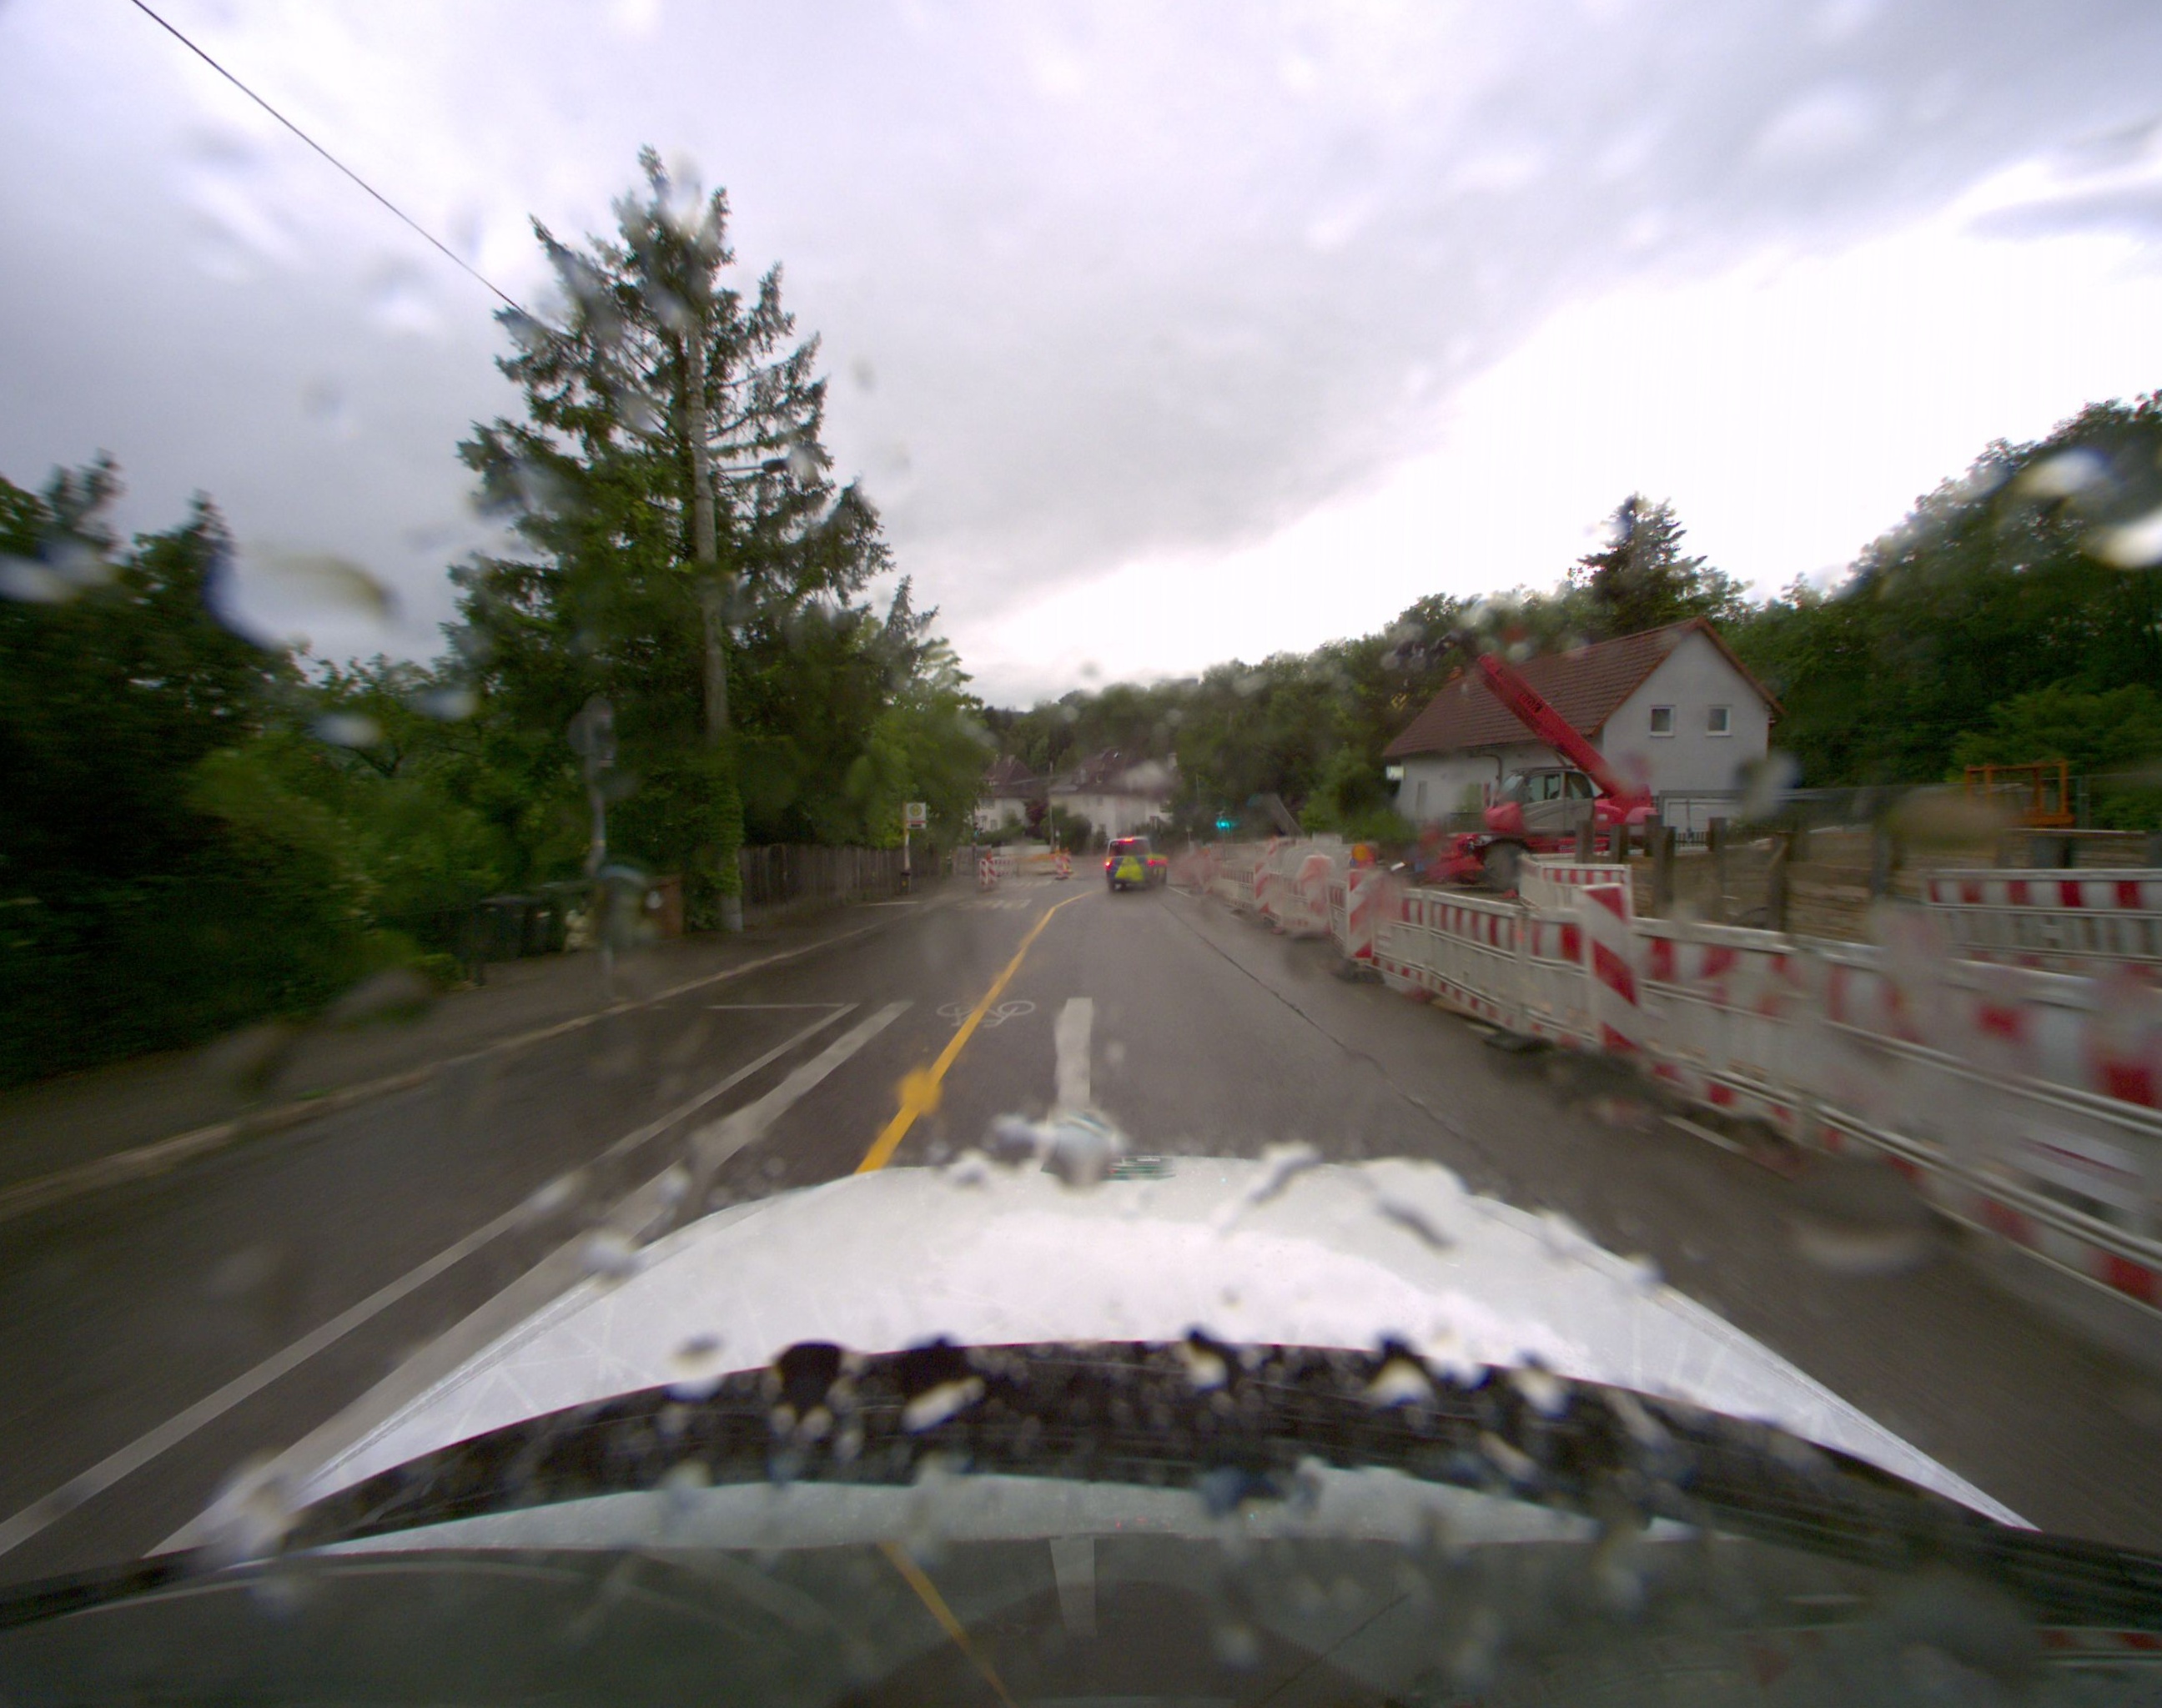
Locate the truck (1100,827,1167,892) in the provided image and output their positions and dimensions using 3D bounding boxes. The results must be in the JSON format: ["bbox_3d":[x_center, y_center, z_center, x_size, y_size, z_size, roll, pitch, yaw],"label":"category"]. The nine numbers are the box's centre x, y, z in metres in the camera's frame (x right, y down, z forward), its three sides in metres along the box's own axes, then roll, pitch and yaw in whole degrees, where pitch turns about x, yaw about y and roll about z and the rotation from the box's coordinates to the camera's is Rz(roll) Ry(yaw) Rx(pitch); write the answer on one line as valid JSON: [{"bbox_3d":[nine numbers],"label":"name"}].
[{"bbox_3d":[2.130,0.119,31.464,1.981,2.012,4.750,-2,5,10],"label":"truck"}]

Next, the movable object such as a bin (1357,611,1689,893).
[{"bbox_3d":[11.255,-2.517,21.218,6.935,6.689,3.042,-2,0,-4],"label":"movable object such as a bin"}]

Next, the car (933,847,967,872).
[{"bbox_3d":[-11.038,0.441,68.326,1.999,2.013,4.776,-1,0,-19],"label":"car"}]
